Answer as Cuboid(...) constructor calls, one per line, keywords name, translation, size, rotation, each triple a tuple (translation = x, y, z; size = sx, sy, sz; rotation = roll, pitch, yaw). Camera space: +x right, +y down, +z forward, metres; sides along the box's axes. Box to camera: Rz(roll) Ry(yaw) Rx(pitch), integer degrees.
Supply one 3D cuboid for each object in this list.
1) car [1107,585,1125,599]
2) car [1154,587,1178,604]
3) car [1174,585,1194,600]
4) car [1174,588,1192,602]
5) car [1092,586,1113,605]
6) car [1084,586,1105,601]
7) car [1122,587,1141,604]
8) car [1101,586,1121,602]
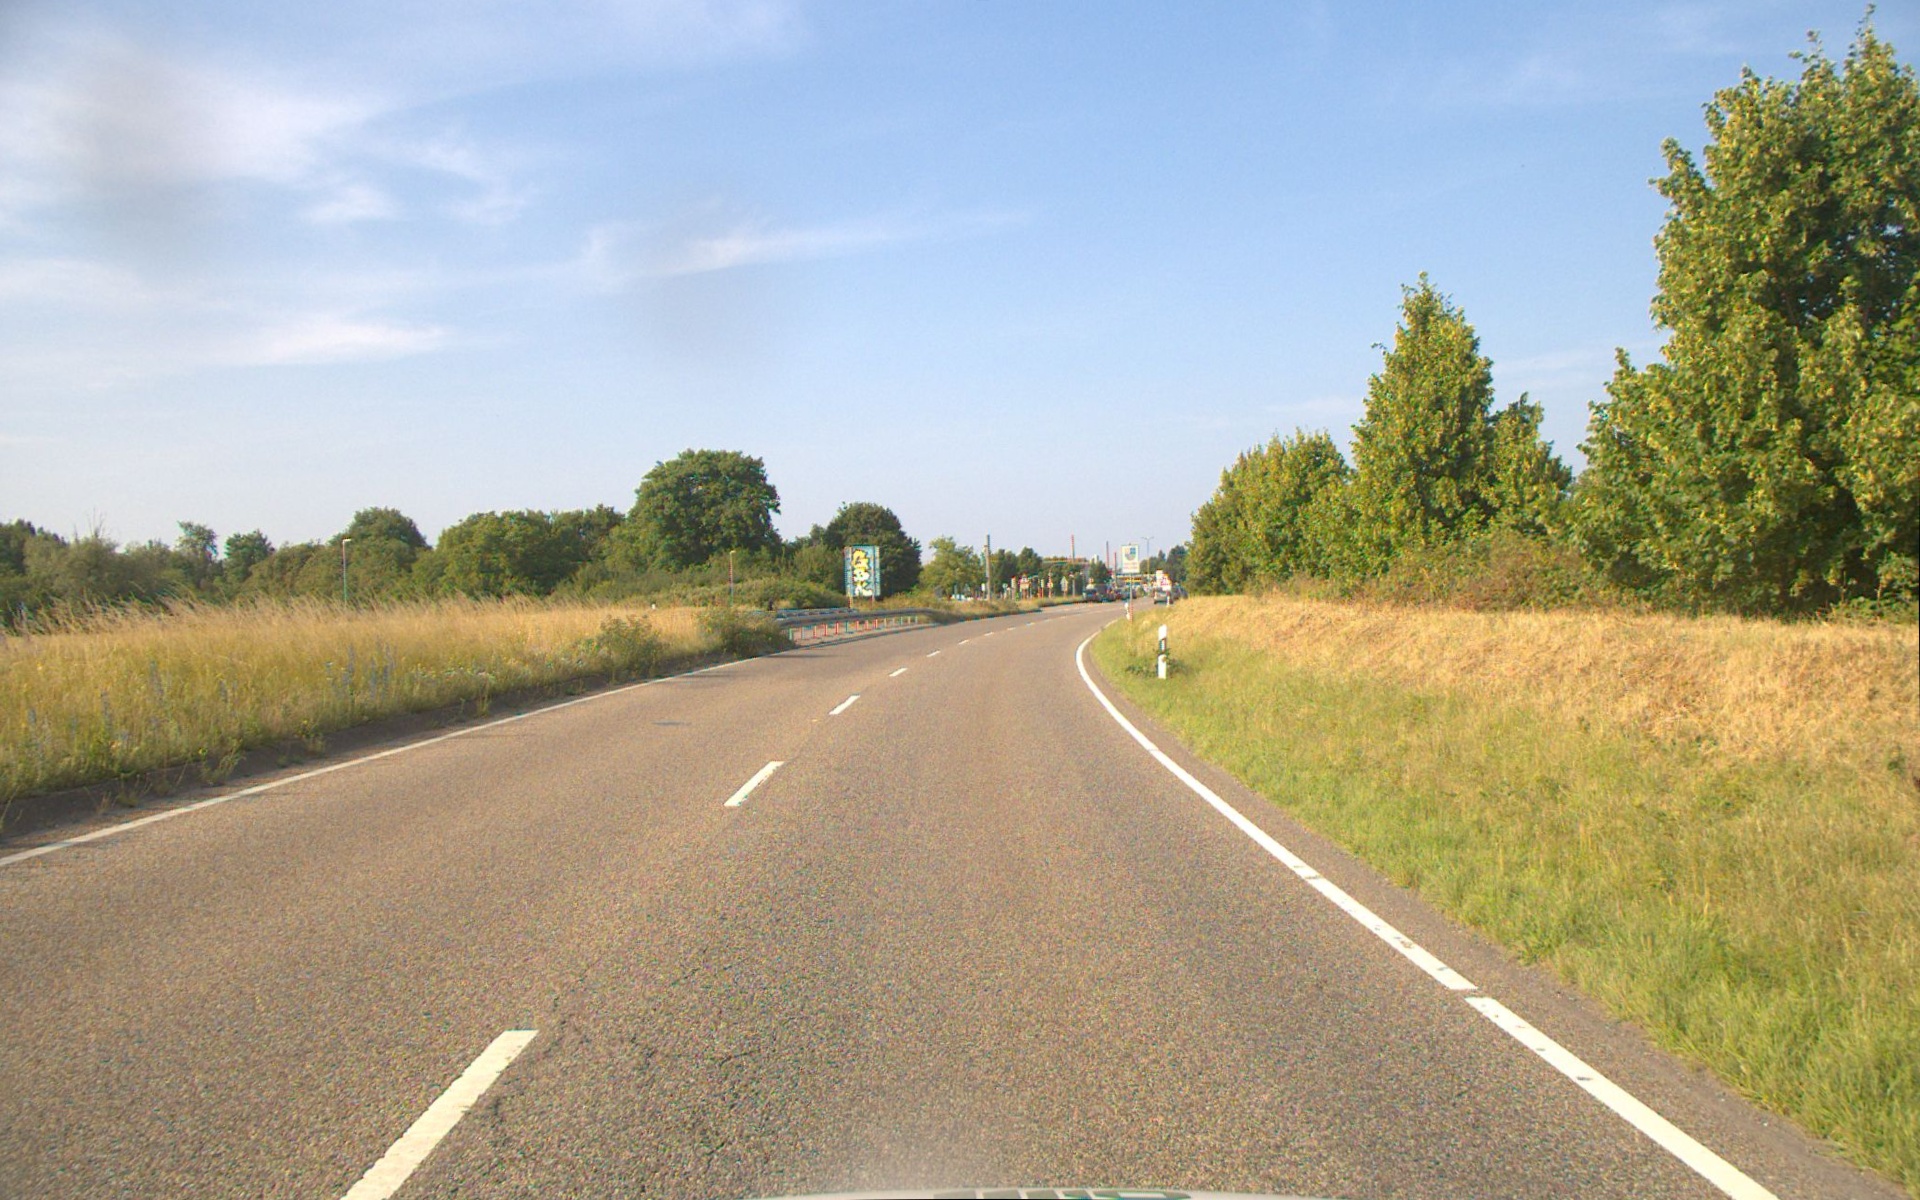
Cuboid(name="car", translation=(18.244, -0.941, 193.366), size=(1.732, 1.497, 4.019), rotation=(-1, 0, 11))
Cuboid(name="car", translation=(19.638, -0.417, 157.668), size=(1.951, 1.579, 4.004), rotation=(-1, 0, 11))
Cuboid(name="car", translation=(24.580, -0.847, 181.201), size=(1.951, 1.579, 4.004), rotation=(-1, 0, 11))
Cuboid(name="car", translation=(27.009, -0.568, 200.103), size=(1.951, 1.579, 4.004), rotation=(-1, 0, 11))
Cuboid(name="car", translation=(15.176, -0.510, 176.293), size=(1.695, 1.888, 4.524), rotation=(-1, 0, 11))
Cuboid(name="car", translation=(13.788, -0.691, 169.458), size=(1.695, 1.481, 4.524), rotation=(-1, 0, 11))
Cuboid(name="car", translation=(21.912, -0.553, 211.119), size=(1.951, 2.049, 4.840), rotation=(-2, -2, 12))
Cuboid(name="car", translation=(16.743, -0.663, 183.856), size=(1.732, 1.708, 4.524), rotation=(-1, 0, 11))
